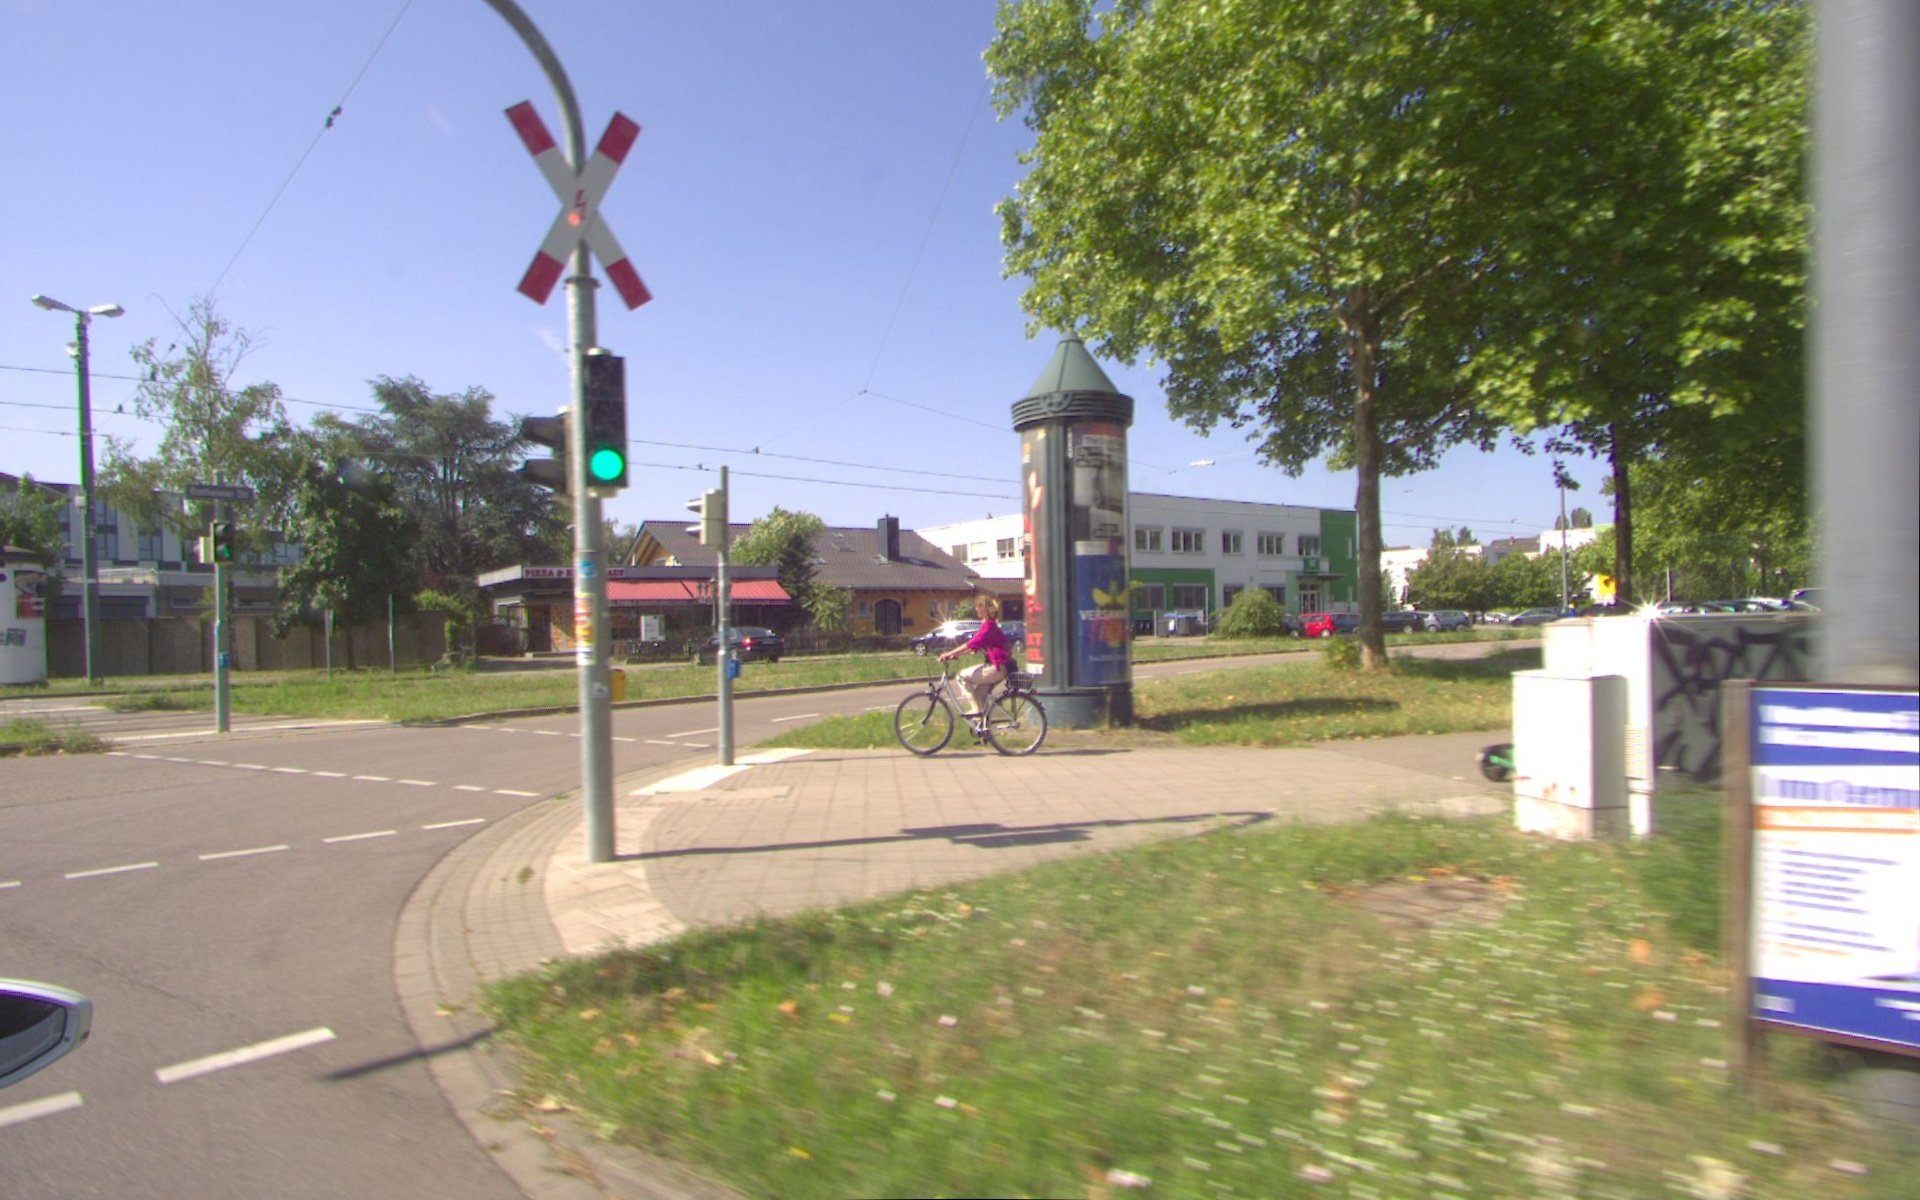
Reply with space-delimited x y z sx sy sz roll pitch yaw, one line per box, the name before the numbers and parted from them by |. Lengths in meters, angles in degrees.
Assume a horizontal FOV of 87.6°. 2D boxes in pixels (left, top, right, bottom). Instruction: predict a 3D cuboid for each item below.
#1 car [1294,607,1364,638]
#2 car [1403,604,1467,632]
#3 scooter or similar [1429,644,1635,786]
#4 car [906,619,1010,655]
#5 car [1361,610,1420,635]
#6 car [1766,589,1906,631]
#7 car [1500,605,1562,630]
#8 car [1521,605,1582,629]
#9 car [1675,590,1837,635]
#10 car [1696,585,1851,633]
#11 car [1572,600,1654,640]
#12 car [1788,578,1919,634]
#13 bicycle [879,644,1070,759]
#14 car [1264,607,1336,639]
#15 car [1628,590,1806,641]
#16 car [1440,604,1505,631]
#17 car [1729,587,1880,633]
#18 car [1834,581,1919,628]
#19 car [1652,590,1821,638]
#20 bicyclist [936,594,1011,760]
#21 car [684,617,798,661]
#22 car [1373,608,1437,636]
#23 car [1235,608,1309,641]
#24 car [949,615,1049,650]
car | 22.895 1.423 62.154 3.935 1.816 1.995 -1 -2 25
car | 32.857 1.258 69.398 3.935 1.816 1.995 -1 -2 25
scooter or similar | 4.911 0.983 8.664 1.418 1.156 0.517 -2 -2 6
car | -0.080 1.634 44.532 4.140 1.518 2.135 -2 -2 27
car | 28.051 1.446 65.300 3.384 1.556 1.565 -1 0 19
car | 36.676 0.448 41.973 4.311 1.654 1.981 -2 -1 45
car | 44.186 1.369 77.552 3.935 1.816 1.995 -1 -2 25
car | 46.913 1.363 79.525 3.935 1.816 1.995 -1 -2 25
car | 28.234 0.462 35.597 4.311 1.510 1.981 -2 -1 45
car | 30.218 0.391 37.276 4.311 1.654 1.982 -2 -2 45
car | 28.276 0.885 43.326 3.953 1.676 1.780 1 -2 -38
car | 39.221 0.295 43.648 1.977 2.319 4.552 -1 -1 -40
bicycle | 0.149 1.134 11.395 2.084 1.201 0.693 -1 0 -2
car | 20.610 1.419 60.658 3.935 1.816 1.995 -1 -2 25
car | 24.182 0.515 32.086 4.312 1.510 1.981 -3 -1 45
car | 36.003 1.238 70.464 3.935 1.816 1.995 -1 -2 25
car | 32.418 0.394 38.513 4.311 1.654 1.981 -2 -1 45
car | 46.019 0.223 49.197 4.544 2.238 1.981 -2 -1 45
car | 26.225 0.491 33.896 4.311 1.510 1.981 -2 -1 45
bicyclist | 0.139 0.853 11.389 0.794 1.810 0.702 -1 0 -2
car | -8.552 1.527 38.803 2.120 1.517 5.076 -1 -2 -42
car | 30.167 1.540 67.934 3.935 1.816 1.995 -1 -2 25
car | 18.342 1.470 58.941 3.935 1.816 1.995 -1 -2 25
car | 1.810 1.507 46.504 4.140 1.518 2.135 -2 -2 27
